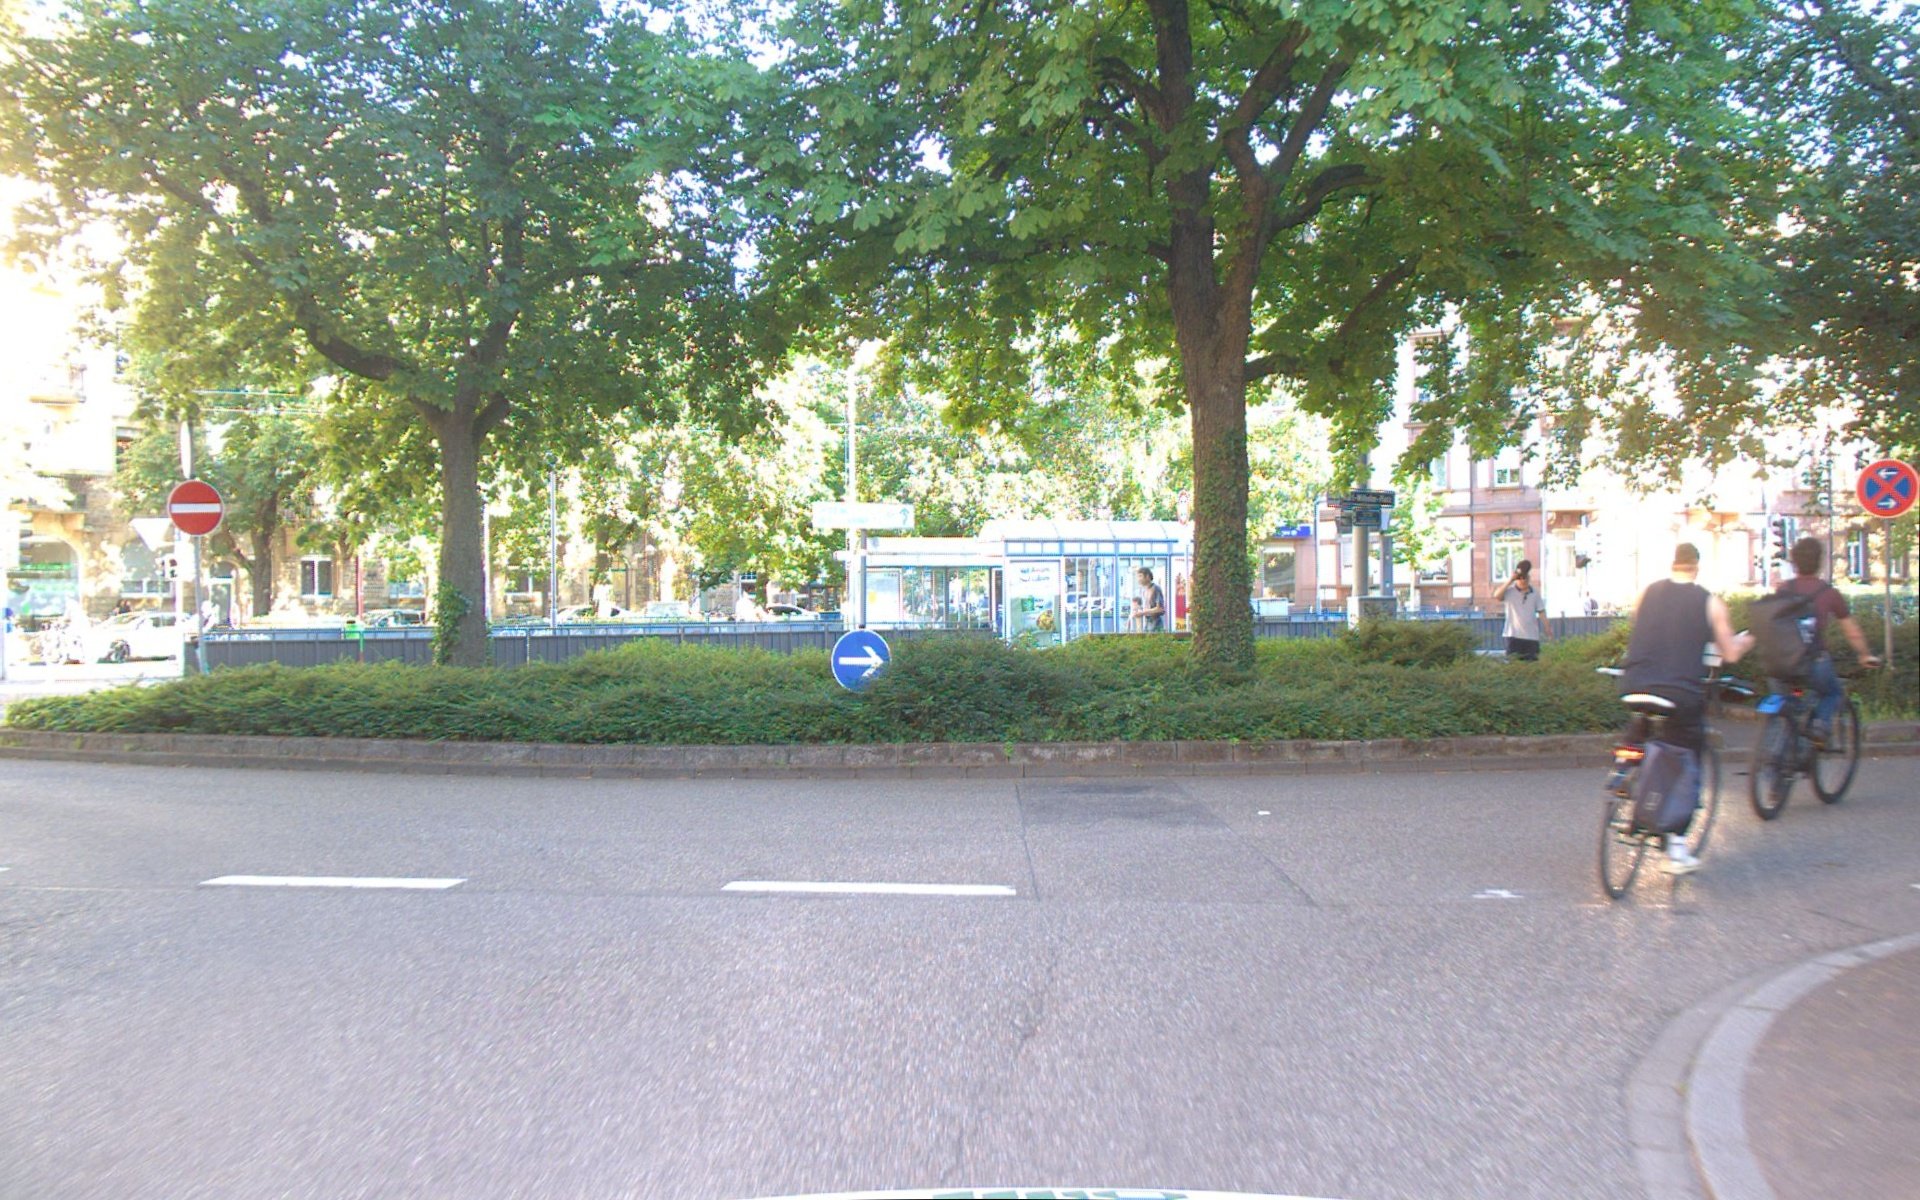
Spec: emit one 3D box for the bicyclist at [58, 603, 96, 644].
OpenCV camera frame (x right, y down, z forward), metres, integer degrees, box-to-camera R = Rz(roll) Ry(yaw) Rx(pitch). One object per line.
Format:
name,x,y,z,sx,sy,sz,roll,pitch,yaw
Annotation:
bicyclist,-23.459,0.619,43.940,0.598,1.072,0.676,-1,0,26

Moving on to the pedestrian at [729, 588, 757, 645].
pedestrian,-6.629,0.501,50.487,0.692,1.724,0.666,1,0,-23

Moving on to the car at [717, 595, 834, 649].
car,-6.949,0.791,62.208,3.939,1.903,1.983,-1,0,-26

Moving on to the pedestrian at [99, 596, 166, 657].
pedestrian,-26.858,0.856,53.704,1.233,1.945,1.491,-1,0,31

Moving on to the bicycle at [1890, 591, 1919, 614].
bicycle,37.450,0.109,65.303,1.196,0.877,0.450,-1,0,-6

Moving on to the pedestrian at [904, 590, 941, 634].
pedestrian,-1.448,0.443,63.585,1.053,1.659,0.990,-1,0,-38

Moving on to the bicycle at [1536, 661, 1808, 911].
bicycle,3.713,0.879,8.524,0.726,1.029,2.050,1,1,40

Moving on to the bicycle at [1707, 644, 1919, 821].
bicycle,5.839,0.845,11.156,2.043,1.072,0.666,1,-2,-41

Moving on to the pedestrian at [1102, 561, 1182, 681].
pedestrian,2.669,0.300,24.248,0.880,1.713,0.817,-1,0,33

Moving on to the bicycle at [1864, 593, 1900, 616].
bicycle,36.286,0.161,65.104,1.196,0.877,0.450,-1,0,-6

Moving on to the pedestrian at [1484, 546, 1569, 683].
pedestrian,7.291,0.182,21.328,0.896,1.713,0.781,-1,0,9

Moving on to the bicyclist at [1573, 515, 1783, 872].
bicyclist,3.706,0.445,8.525,0.741,1.711,0.908,-1,0,41

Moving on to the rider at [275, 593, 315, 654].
rider,-19.144,0.672,47.652,0.801,1.711,0.671,1,0,9

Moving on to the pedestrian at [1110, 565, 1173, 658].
pedestrian,3.846,0.240,35.096,1.003,1.930,0.906,-1,0,-23

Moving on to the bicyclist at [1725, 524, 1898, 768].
bicyclist,5.692,0.295,11.048,1.060,1.541,0.663,0,-1,-42

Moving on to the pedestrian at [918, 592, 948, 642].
pedestrian,-0.855,0.550,53.128,0.795,1.570,0.818,1,0,-12

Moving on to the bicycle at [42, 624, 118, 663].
bicycle,-23.417,1.144,44.022,0.640,0.962,1.740,-1,0,27

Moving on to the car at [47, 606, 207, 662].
car,-23.500,0.928,46.773,1.857,1.464,3.704,-1,0,25

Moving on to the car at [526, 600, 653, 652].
car,-12.961,0.878,57.973,3.920,1.709,1.922,-1,0,-45
